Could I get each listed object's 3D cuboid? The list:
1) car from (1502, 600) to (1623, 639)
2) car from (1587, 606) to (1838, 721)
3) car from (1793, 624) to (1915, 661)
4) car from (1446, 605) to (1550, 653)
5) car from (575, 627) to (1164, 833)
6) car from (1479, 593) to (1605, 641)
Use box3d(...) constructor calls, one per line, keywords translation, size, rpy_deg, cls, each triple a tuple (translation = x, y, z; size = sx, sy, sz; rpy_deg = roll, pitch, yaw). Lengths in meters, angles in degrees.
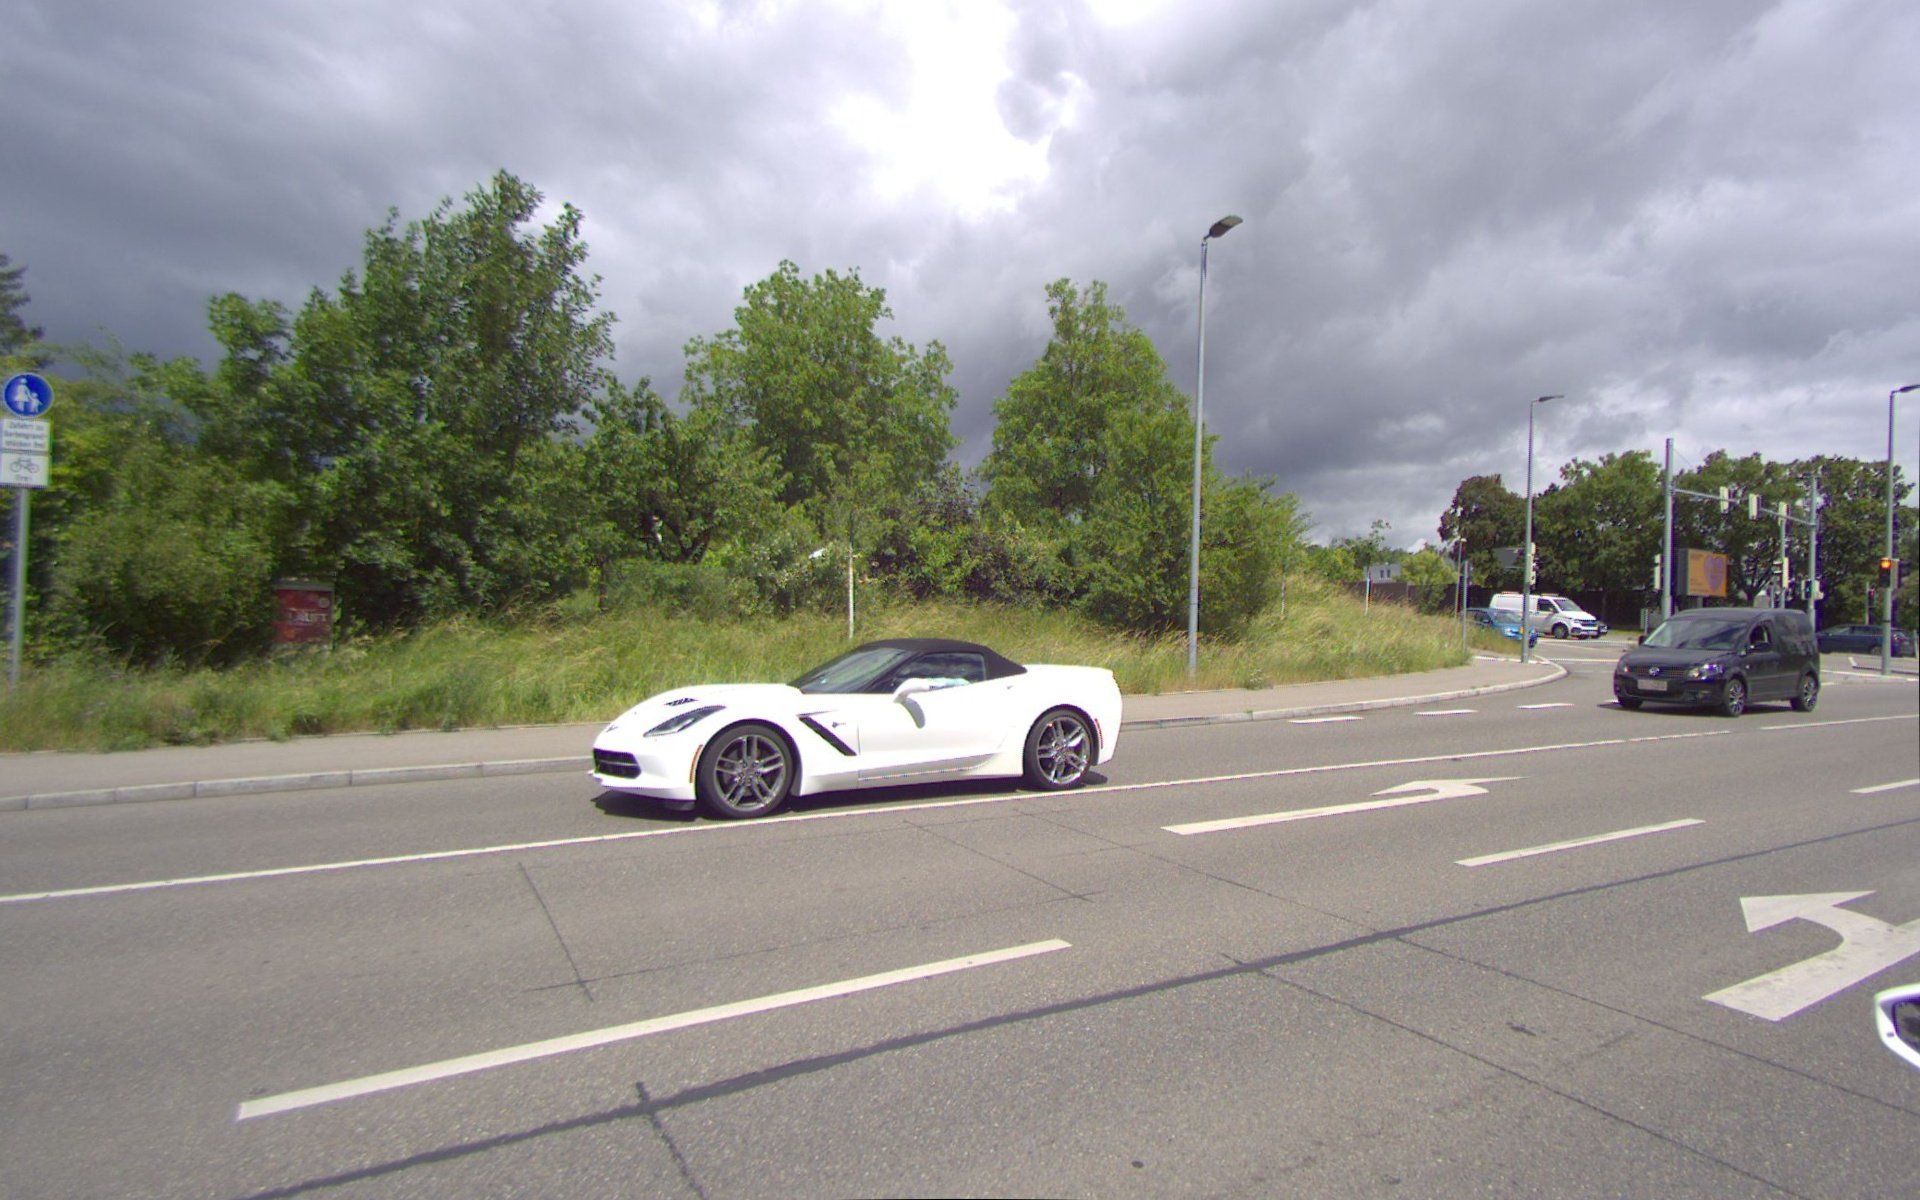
box3d(translation=(30.535, 0.969, 51.064), size=(1.887, 1.657, 4.933), rpy_deg=(2, 2, -28), cls="car")
box3d(translation=(13.431, 1.053, 17.860), size=(4.752, 1.802, 1.777), rpy_deg=(1, 0, -29), cls="car")
box3d(translation=(42.459, 1.997, 47.824), size=(1.674, 1.419, 3.973), rpy_deg=(3, 1, -26), cls="car")
box3d(translation=(22.226, 1.169, 41.722), size=(1.873, 1.659, 4.447), rpy_deg=(3, 2, 0), cls="car")
box3d(translation=(-0.663, 0.921, 8.412), size=(4.554, 1.308, 1.896), rpy_deg=(2, -2, -30), cls="car")
box3d(translation=(27.790, 0.794, 48.145), size=(1.887, 1.963, 4.933), rpy_deg=(2, 2, -28), cls="car")
